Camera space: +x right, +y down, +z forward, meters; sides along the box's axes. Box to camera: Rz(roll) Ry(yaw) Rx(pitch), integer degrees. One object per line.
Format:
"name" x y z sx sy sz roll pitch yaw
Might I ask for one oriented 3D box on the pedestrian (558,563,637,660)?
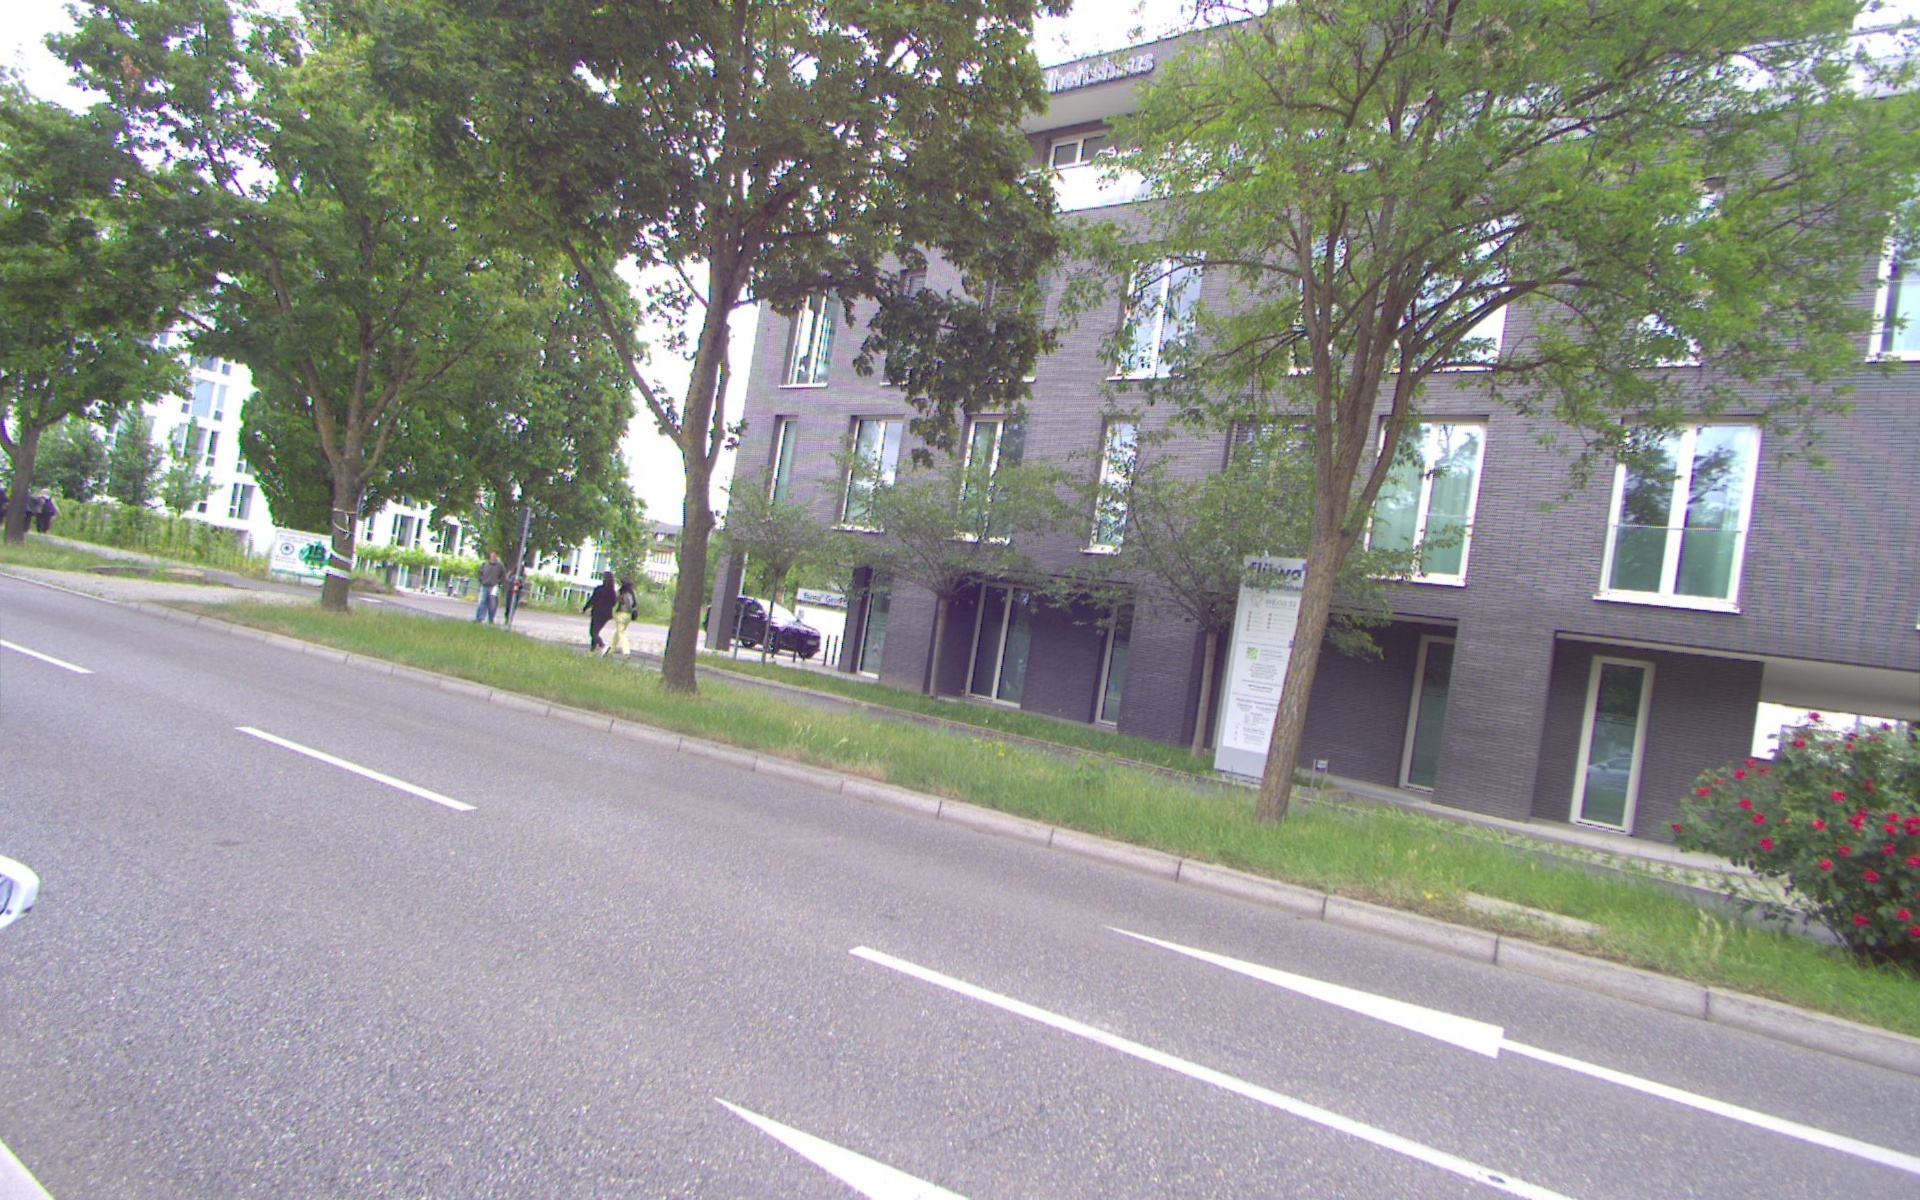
"pedestrian" -6.962 0.219 19.343 1.043 1.679 0.796 7 -1 38

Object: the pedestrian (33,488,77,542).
"pedestrian" -31.246 -2.947 34.735 0.868 1.705 0.768 6 -1 31

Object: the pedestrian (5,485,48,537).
"pedestrian" -31.603 -3.022 34.047 0.868 1.614 0.701 6 -1 31

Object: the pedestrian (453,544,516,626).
"pedestrian" -11.906 -0.364 25.247 0.946 1.889 0.978 8 -1 -8

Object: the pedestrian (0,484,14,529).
"pedestrian" -32.289 -3.171 33.461 1.093 1.465 0.791 6 -1 31

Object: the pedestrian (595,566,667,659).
"pedestrian" -6.532 0.252 19.980 0.937 1.679 0.779 7 -1 38

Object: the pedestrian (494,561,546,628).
"pedestrian" -11.233 -0.131 25.719 0.821 1.575 0.875 8 -1 -8

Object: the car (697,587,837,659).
"car" -6.105 0.723 31.688 4.080 1.665 1.759 7 -2 32
